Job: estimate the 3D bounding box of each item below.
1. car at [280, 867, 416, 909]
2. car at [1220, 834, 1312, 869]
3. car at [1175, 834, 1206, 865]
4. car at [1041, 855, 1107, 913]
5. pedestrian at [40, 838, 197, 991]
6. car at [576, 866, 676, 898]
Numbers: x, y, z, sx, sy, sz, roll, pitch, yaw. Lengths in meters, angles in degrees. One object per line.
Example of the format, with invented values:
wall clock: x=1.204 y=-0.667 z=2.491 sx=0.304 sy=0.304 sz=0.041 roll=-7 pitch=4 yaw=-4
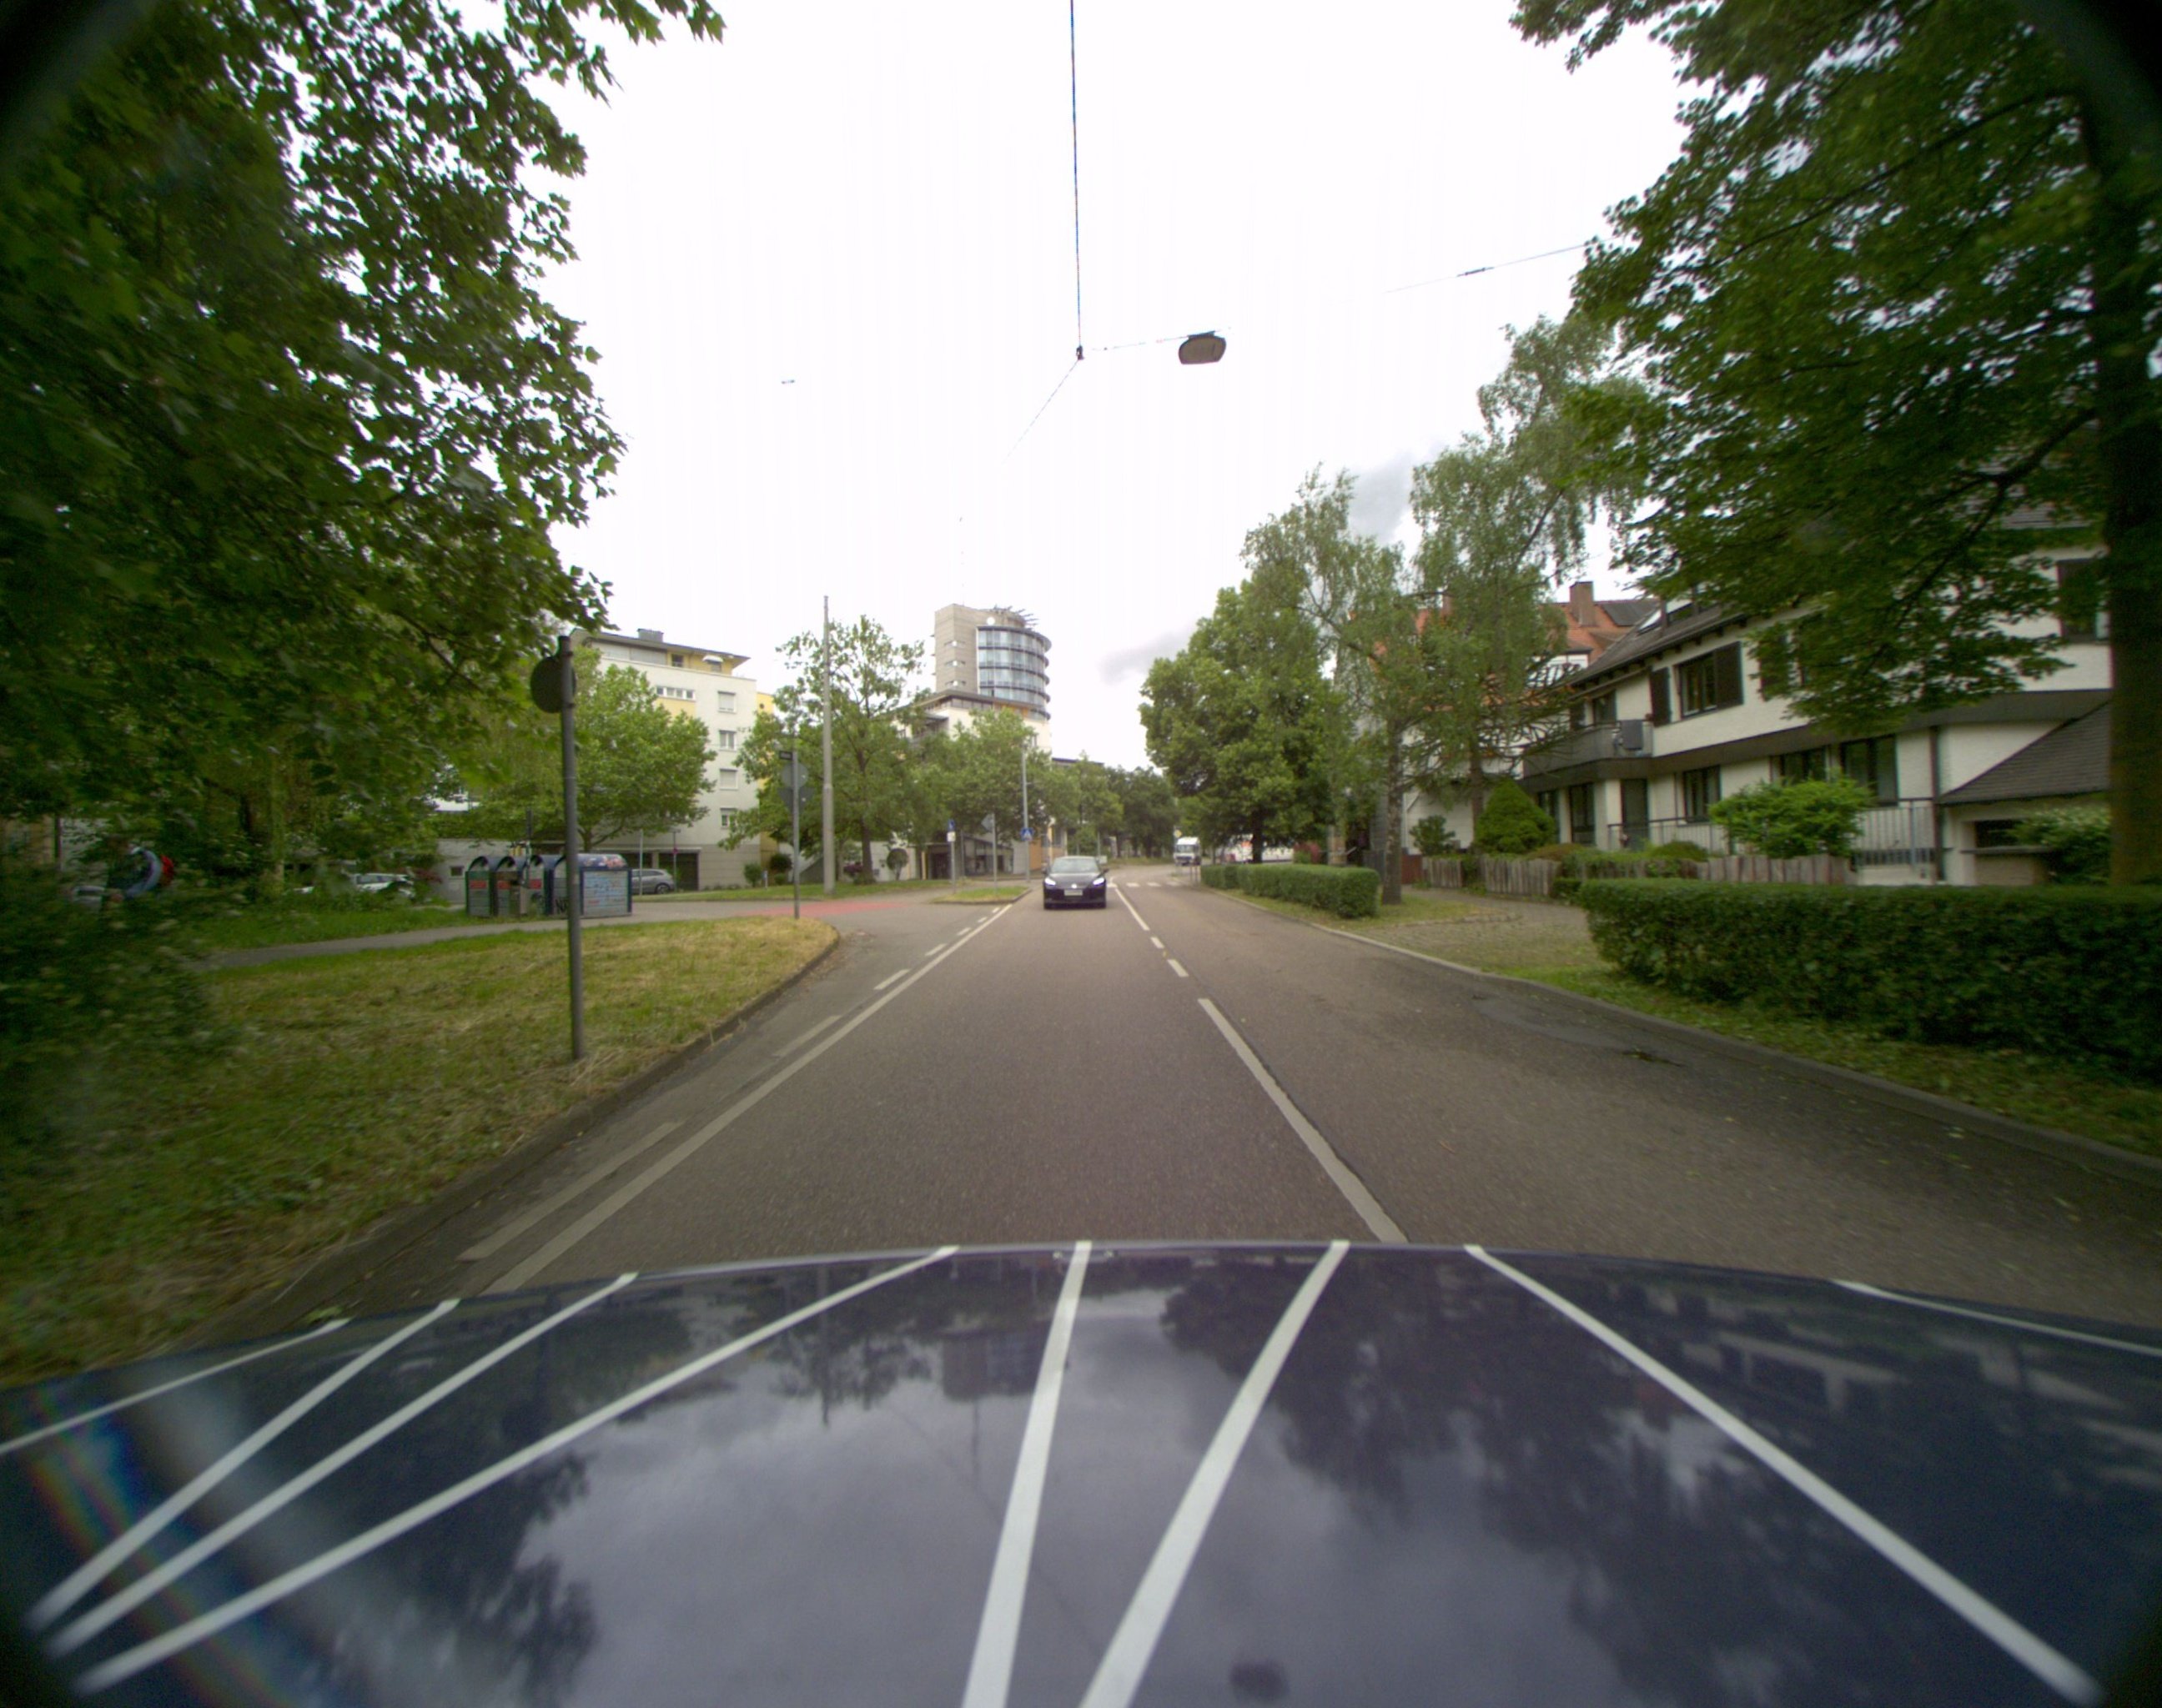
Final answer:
car: x=-32.072 y=1.433 z=33.388 sx=4.174 sy=1.602 sz=1.795 roll=-2 pitch=1 yaw=-44
car: x=13.248 y=-0.196 z=54.421 sx=6.376 sy=2.334 sz=1.973 roll=-2 pitch=0 yaw=-20
car: x=12.399 y=-0.549 z=85.566 sx=2.433 sy=3.256 sz=7.799 roll=-1 pitch=1 yaw=15
car: x=-0.152 y=0.822 z=23.217 sx=1.798 sy=1.552 sz=4.471 roll=-1 pitch=0 yaw=1
pedestrian: x=-11.886 y=0.713 z=9.424 sx=0.759 sy=1.785 sz=0.895 roll=-2 pitch=0 yaw=-9
car: x=-24.396 y=1.450 z=40.851 sx=1.795 sy=1.501 sz=4.252 roll=-2 pitch=0 yaw=45
